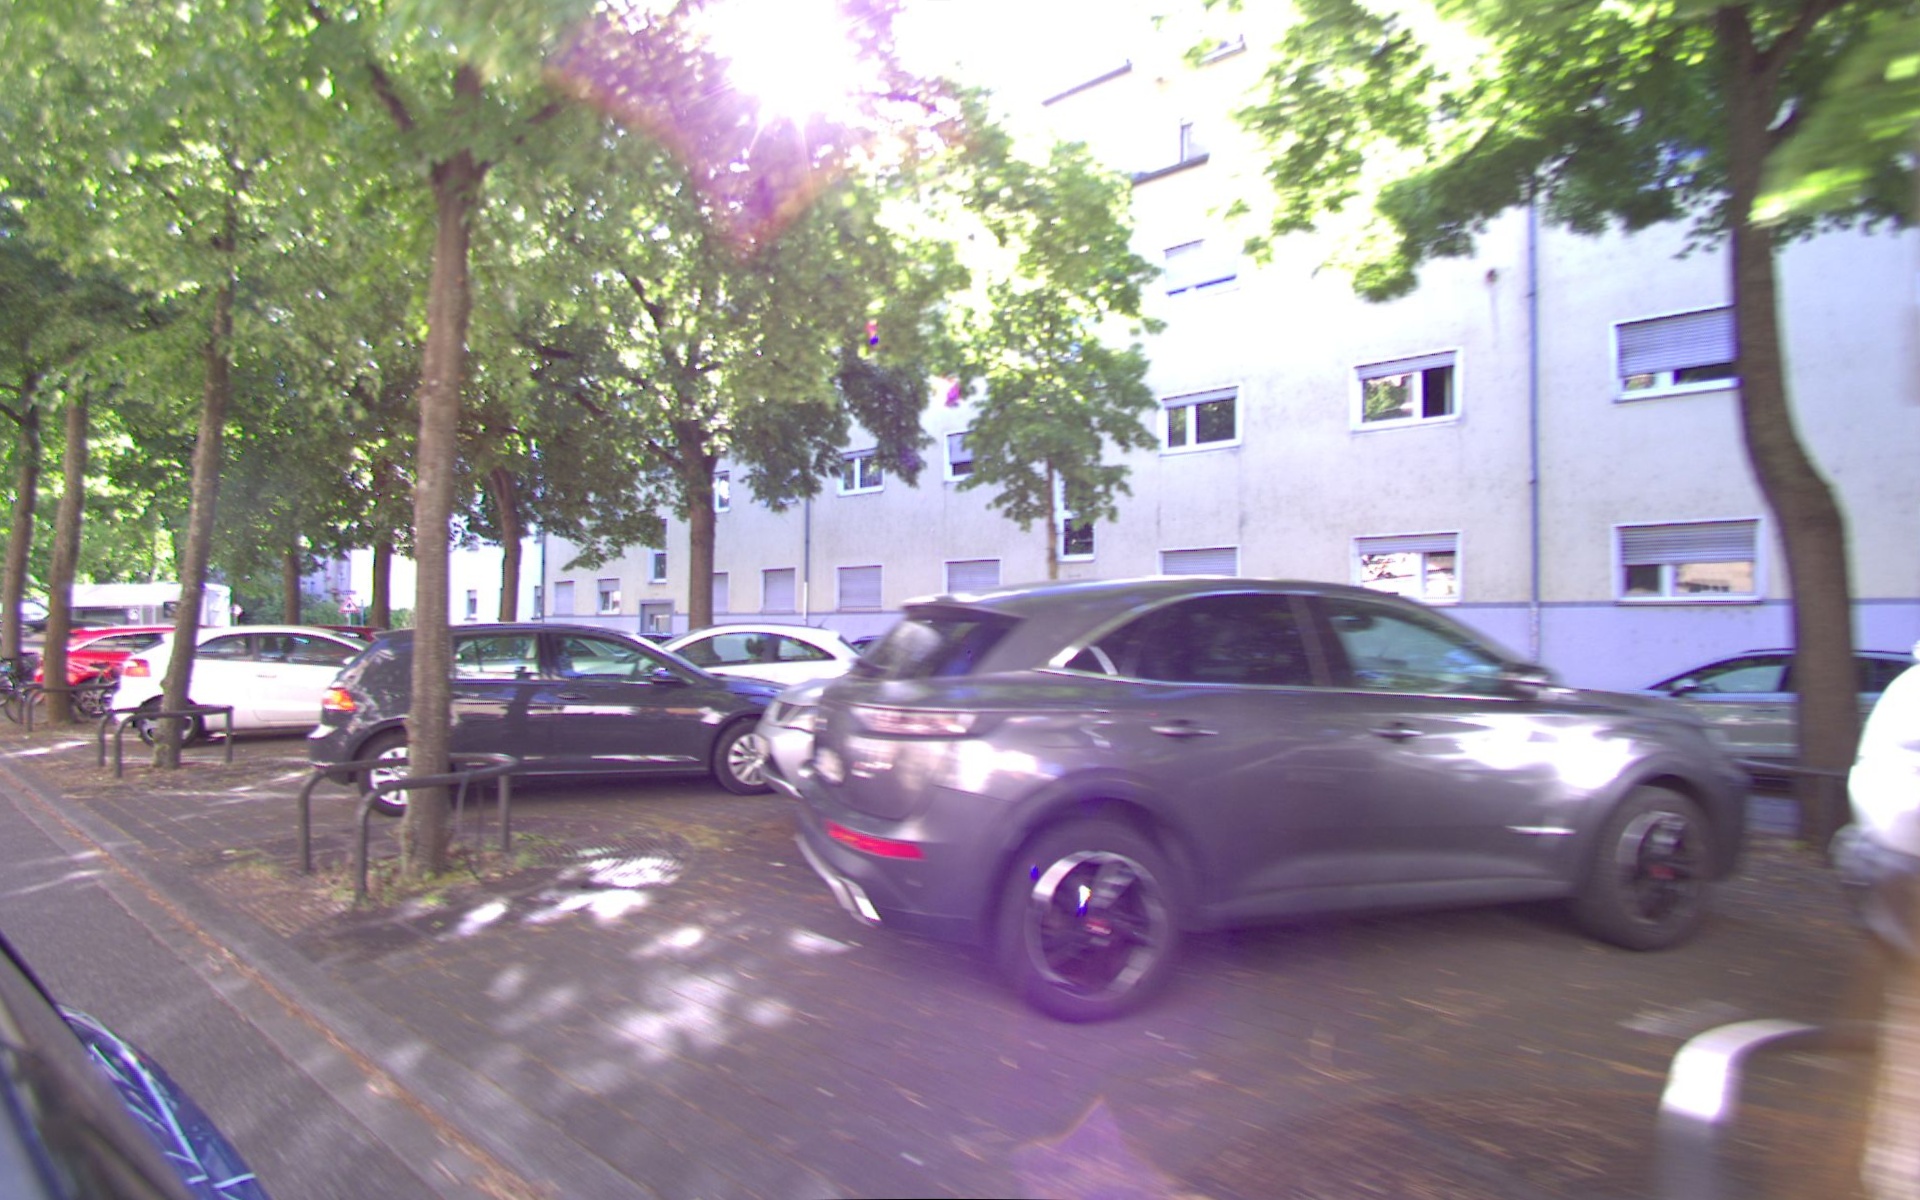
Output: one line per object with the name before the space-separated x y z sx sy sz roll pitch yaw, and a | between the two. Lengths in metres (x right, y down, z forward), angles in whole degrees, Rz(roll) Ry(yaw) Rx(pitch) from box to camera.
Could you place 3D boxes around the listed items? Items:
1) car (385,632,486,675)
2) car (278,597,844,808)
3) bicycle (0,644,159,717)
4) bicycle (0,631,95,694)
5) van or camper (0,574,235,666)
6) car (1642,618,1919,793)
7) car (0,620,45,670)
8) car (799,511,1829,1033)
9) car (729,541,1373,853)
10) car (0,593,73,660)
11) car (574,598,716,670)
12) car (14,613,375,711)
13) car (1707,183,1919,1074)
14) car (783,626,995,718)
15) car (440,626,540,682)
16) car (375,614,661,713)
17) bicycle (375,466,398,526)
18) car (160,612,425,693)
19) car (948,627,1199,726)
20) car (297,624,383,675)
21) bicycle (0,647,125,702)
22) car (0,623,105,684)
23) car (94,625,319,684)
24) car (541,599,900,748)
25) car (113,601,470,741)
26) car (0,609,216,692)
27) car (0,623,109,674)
car | -18.796 1.875 36.187 4.300 1.409 1.628 -2 -1 39
car | -3.164 0.766 8.615 4.039 1.492 1.737 1 -1 -18
bicycle | -12.964 1.162 14.895 1.786 1.001 0.427 1 -1 -34
bicycle | -17.633 1.178 19.298 1.662 1.167 0.380 0 -2 -29
van or camper | -27.786 0.630 33.097 6.197 2.846 2.415 0 -1 -20
car | 10.066 1.090 10.707 4.554 1.736 1.723 -2 -4 40
car | -33.152 1.473 33.906 3.837 1.630 1.658 0 -3 10
car | 1.495 0.541 4.603 4.203 1.654 1.660 0 -1 -16
car | 0.644 0.619 7.475 4.318 1.791 1.905 1 -2 -21
car | -39.234 1.022 39.723 6.220 2.578 2.345 0 -1 -16
car | -8.350 0.871 26.694 3.833 1.766 1.685 -2 -1 38
car | -12.726 0.990 17.172 4.550 1.497 1.766 0 -1 -16
car | 5.885 0.145 3.330 5.980 2.643 2.463 2 -2 -18
car | -1.553 1.467 21.126 4.376 1.732 1.826 -2 -5 41
car | -15.448 1.764 33.182 3.597 1.689 1.460 -2 -6 39
car | -6.853 0.966 16.139 3.932 1.446 1.802 1 -2 -15
bicycle | -13.607 -2.436 24.031 0.350 1.209 1.807 0 -1 -25
car | -13.059 1.014 20.119 4.045 1.484 1.877 1 -2 -20
car | 1.979 1.326 18.204 4.156 1.577 1.873 -2 -5 39
car | -26.333 2.097 42.958 3.998 2.029 1.973 -2 -4 41
bicycle | -16.412 1.342 18.382 1.871 0.926 0.380 0 -2 -29
car | -24.167 1.318 25.255 3.953 1.485 1.630 2 -3 -13
car | -18.740 1.322 25.374 4.128 1.401 1.823 0 -2 -15
car | -2.834 0.863 12.097 3.848 1.567 1.852 2 -3 -18
car | -8.449 0.839 13.206 3.630 1.608 1.778 0 -1 -24
car | -18.773 1.048 21.851 4.018 1.665 1.869 0 -1 -22
car | -27.944 1.414 29.753 4.086 1.436 1.720 1 -2 -17
